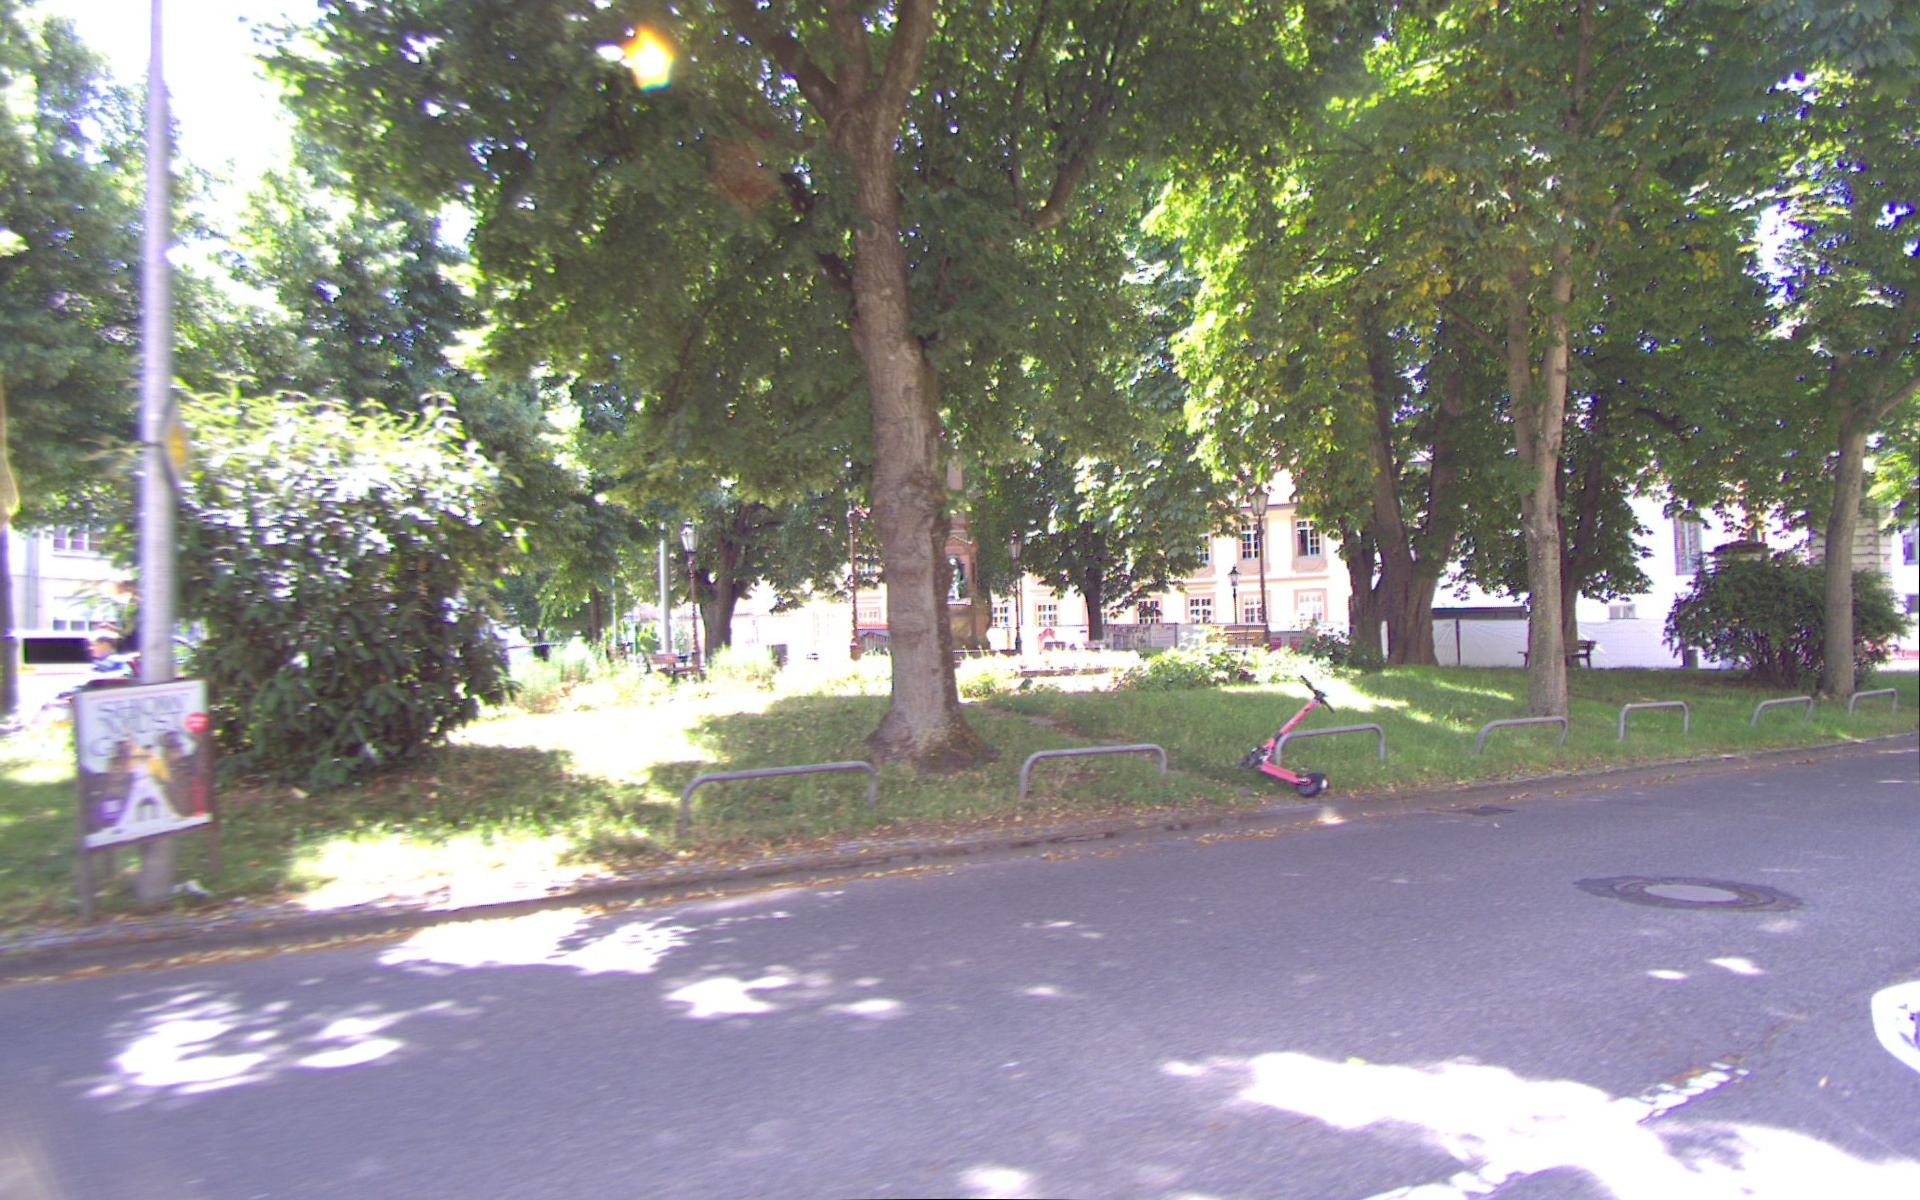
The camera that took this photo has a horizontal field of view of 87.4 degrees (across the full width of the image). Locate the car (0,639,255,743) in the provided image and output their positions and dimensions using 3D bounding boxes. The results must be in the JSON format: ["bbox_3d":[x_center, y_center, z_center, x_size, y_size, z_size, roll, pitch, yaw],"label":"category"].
[{"bbox_3d":[-19.070,1.934,22.461,2.015,2.028,5.250,-3,-3,19],"label":"car"}]

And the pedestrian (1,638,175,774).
[{"bbox_3d":[-9.021,1.062,10.417,0.893,1.268,1.145,-3,-2,33],"label":"pedestrian"}]

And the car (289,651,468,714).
[{"bbox_3d":[-16.832,2.352,29.356,1.754,1.645,4.487,-3,-3,19],"label":"car"}]

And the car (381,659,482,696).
[{"bbox_3d":[-26.372,3.881,50.156,4.132,1.524,2.005,-5,-3,14],"label":"car"}]

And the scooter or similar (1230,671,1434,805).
[{"bbox_3d":[3.721,1.328,10.099,1.436,1.005,1.264,1,5,-33],"label":"scooter or similar"}]

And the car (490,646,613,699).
[{"bbox_3d":[-14.554,2.564,36.050,1.754,1.715,4.201,-3,-3,19],"label":"car"}]

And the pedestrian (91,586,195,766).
[{"bbox_3d":[-9.202,0.836,11.318,0.737,1.936,0.682,-3,-1,33],"label":"pedestrian"}]
